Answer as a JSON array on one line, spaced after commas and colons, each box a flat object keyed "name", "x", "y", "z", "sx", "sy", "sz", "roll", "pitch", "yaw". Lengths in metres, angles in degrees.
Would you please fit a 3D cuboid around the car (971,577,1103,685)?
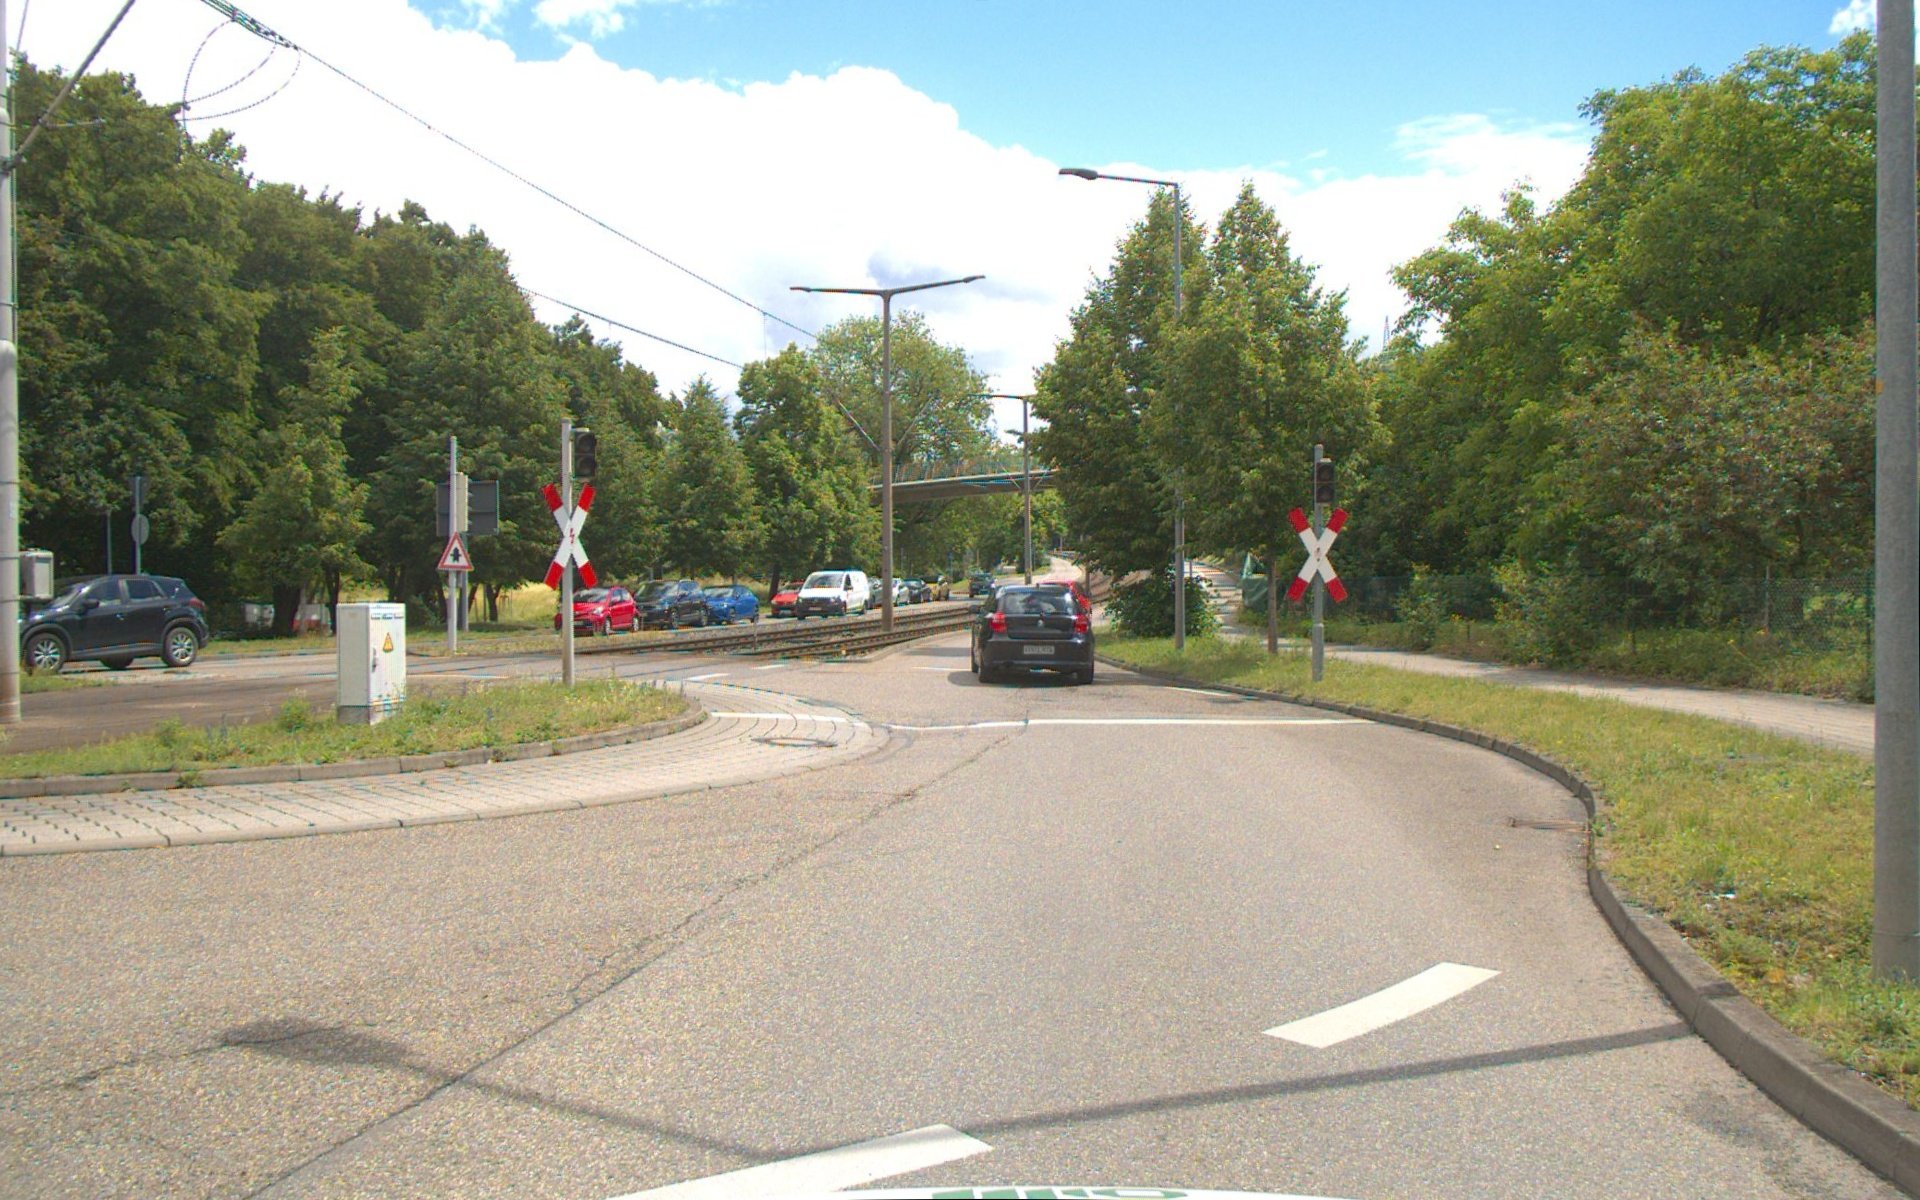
[{"name": "car", "x": 1.105, "y": 0.416, "z": 25.345, "sx": 1.674, "sy": 1.485, "sz": 3.959, "roll": 1, "pitch": 1, "yaw": -2}]

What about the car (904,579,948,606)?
[{"name": "car", "x": -1.912, "y": -0.414, "z": 94.185, "sx": 1.653, "sy": 1.476, "sz": 3.901, "roll": 1, "pitch": -1, "yaw": 12}]

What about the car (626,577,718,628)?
[{"name": "car", "x": -9.746, "y": 0.115, "z": 56.269, "sx": 1.546, "sy": 1.633, "sz": 4.378, "roll": 1, "pitch": -1, "yaw": 12}]

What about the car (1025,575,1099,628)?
[{"name": "car", "x": 3.041, "y": 0.050, "z": 48.842, "sx": 1.589, "sy": 1.468, "sz": 3.424, "roll": 1, "pitch": 0, "yaw": 13}]

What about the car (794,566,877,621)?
[{"name": "car", "x": -4.887, "y": -0.216, "z": 65.613, "sx": 1.835, "sy": 2.054, "sz": 5.239, "roll": 1, "pitch": -1, "yaw": 12}]

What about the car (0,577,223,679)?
[{"name": "car", "x": -15.193, "y": 0.438, "z": 28.620, "sx": 1.816, "sy": 1.613, "sz": 4.323, "roll": -1, "pitch": 0, "yaw": 25}]

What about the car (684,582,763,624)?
[{"name": "car", "x": -8.726, "y": 0.119, "z": 61.375, "sx": 1.578, "sy": 1.486, "sz": 4.010, "roll": 1, "pitch": -1, "yaw": 12}]

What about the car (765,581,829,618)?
[{"name": "car", "x": -7.005, "y": -0.018, "z": 71.405, "sx": 1.578, "sy": 1.520, "sz": 4.051, "roll": 1, "pitch": -1, "yaw": 12}]

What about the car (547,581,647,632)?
[{"name": "car", "x": -11.076, "y": 0.212, "z": 50.694, "sx": 1.578, "sy": 1.477, "sz": 3.665, "roll": 1, "pitch": -1, "yaw": 12}]
